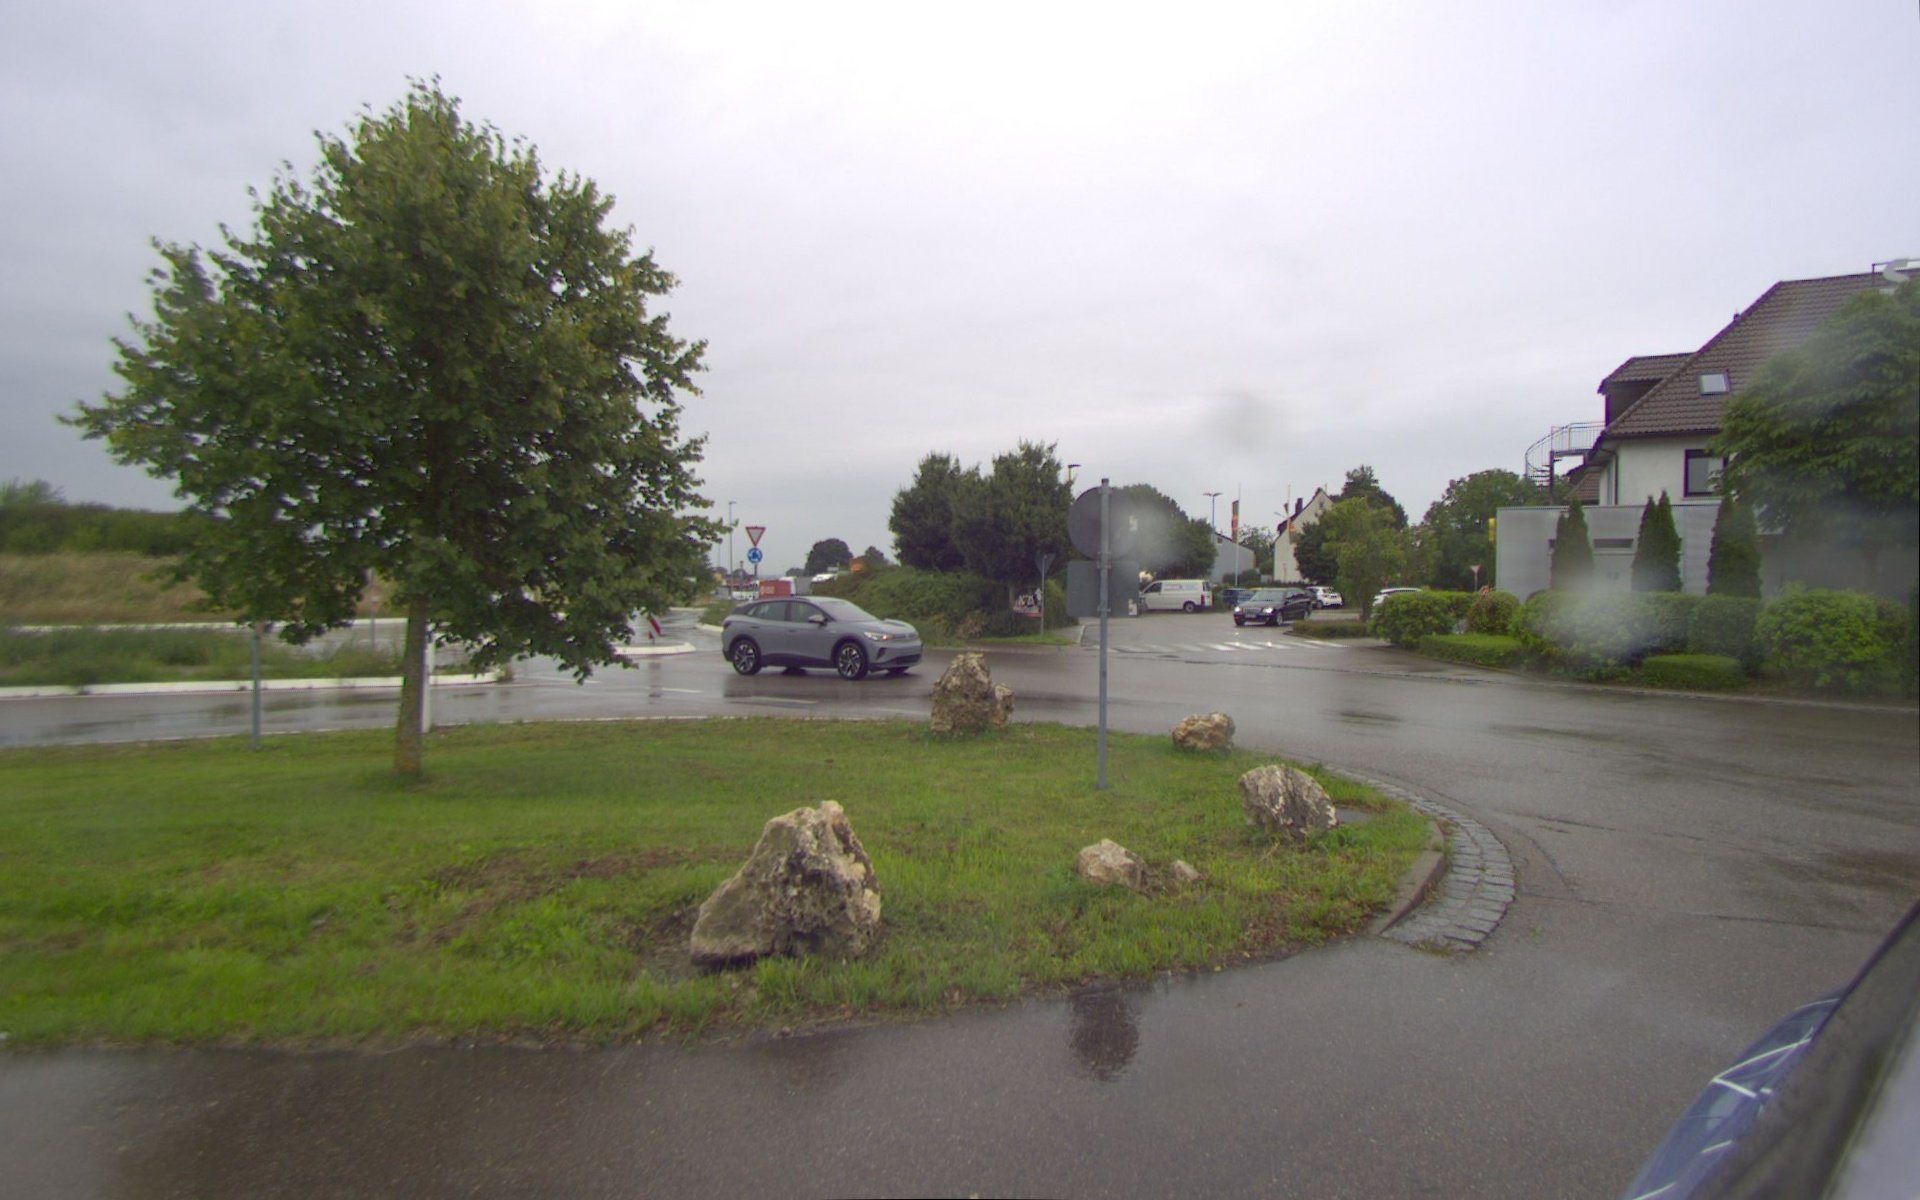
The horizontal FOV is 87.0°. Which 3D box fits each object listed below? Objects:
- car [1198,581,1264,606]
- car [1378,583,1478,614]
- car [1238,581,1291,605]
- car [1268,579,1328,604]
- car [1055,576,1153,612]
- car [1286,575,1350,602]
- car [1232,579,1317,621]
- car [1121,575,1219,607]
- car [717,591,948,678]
[{"bbox_3d":[17.552,-0.401,65.769,1.958,1.570,4.658,-1,0,-17],"label":"car"},{"bbox_3d":[22.687,-0.084,49.108,4.321,1.443,1.832,0,1,29],"label":"car"},{"bbox_3d":[20.105,-0.456,66.890,1.631,1.568,3.734,-1,0,-15],"label":"car"},{"bbox_3d":[22.428,-0.566,67.375,1.713,1.589,3.896,-1,0,-20],"label":"car"},{"bbox_3d":[7.347,-0.290,51.680,4.570,1.743,1.979,-1,0,30],"label":"car"},{"bbox_3d":[24.154,-0.779,68.460,1.949,1.749,4.008,-1,0,-21],"label":"car"},{"bbox_3d":[12.303,-0.025,39.427,1.698,1.442,4.301,0,2,39],"label":"car"},{"bbox_3d":[12.430,-0.520,60.051,5.332,1.743,1.979,-1,0,31],"label":"car"},{"bbox_3d":[-2.663,0.644,20.982,4.459,1.594,1.980,0,1,29],"label":"car"}]
